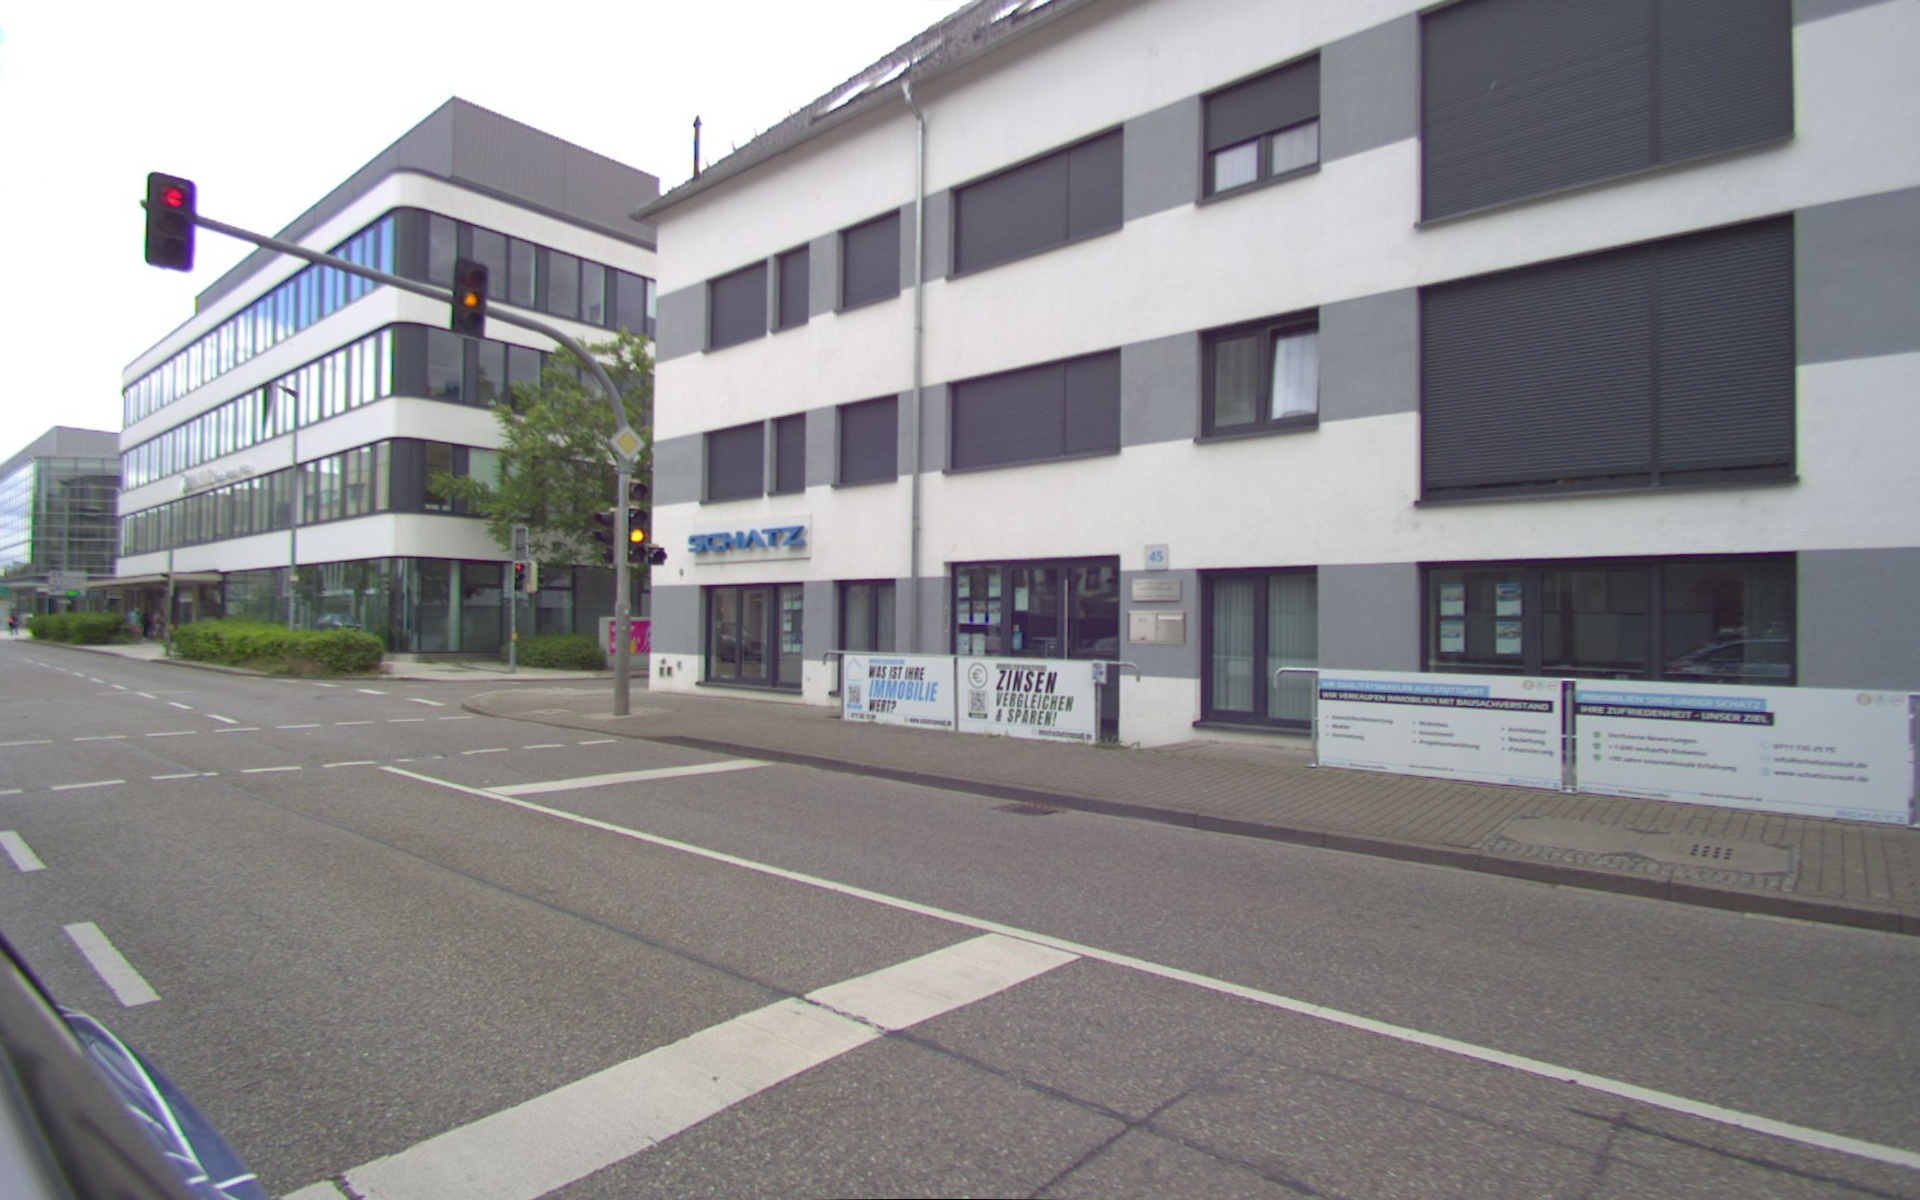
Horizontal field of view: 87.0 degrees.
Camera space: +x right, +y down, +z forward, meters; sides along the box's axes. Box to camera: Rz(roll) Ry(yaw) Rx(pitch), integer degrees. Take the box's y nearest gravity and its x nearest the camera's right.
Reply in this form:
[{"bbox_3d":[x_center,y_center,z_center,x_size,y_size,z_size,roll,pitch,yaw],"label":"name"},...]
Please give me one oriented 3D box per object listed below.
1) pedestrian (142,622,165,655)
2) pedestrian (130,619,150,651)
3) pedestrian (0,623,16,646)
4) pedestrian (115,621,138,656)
[{"bbox_3d":[-39.536,1.887,49.609,0.931,1.625,0.722,-2,-2,42],"label":"pedestrian"},{"bbox_3d":[-44.087,1.877,54.431,0.501,1.723,0.613,0,-2,10],"label":"pedestrian"},{"bbox_3d":[-65.989,2.365,70.117,0.820,1.579,0.813,1,-2,-44],"label":"pedestrian"},{"bbox_3d":[-40.622,1.875,49.338,0.931,1.686,0.722,-2,-2,42],"label":"pedestrian"}]
